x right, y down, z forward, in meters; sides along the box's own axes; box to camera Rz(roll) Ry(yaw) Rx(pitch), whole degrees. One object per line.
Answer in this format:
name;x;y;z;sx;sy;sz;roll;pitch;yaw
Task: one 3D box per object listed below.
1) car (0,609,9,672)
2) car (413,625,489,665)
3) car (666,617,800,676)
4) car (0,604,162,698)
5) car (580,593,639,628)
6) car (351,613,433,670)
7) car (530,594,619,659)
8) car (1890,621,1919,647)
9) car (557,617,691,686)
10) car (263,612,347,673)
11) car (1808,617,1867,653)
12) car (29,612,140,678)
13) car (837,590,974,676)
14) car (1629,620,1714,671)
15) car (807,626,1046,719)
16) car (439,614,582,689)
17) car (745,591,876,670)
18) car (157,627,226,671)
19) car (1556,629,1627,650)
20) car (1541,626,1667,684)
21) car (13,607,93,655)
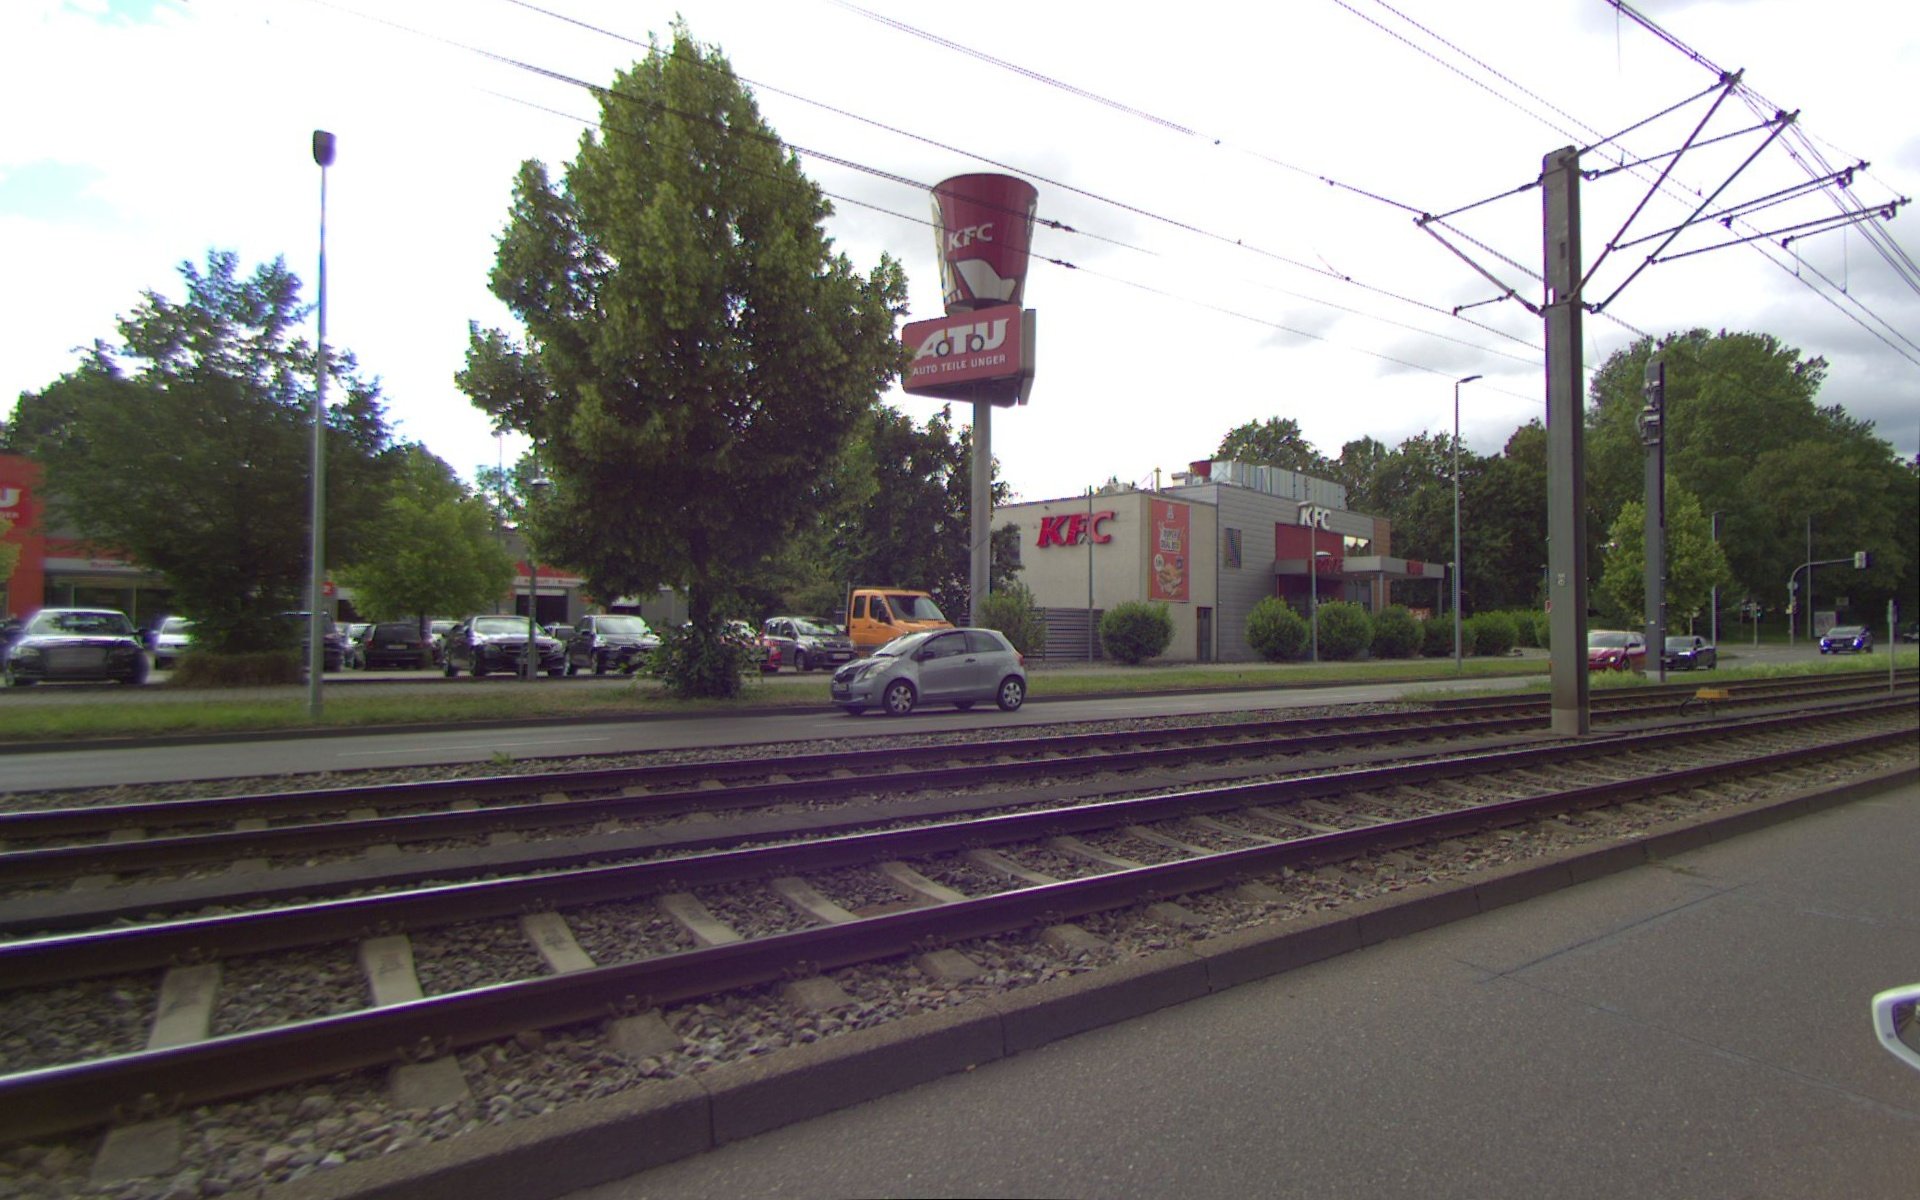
car;-25.595;1.039;25.460;1.686;1.669;3.702;1;-2;-37
car;-19.142;1.661;37.692;1.934;1.407;3.702;2;-3;-37
car;-5.863;1.135;25.602;1.980;1.253;3.960;2;0;-35
car;-16.113;0.856;18.501;1.918;1.440;3.960;2;0;-35
car;-18.456;0.535;52.805;1.903;1.644;3.701;2;0;-37
car;-17.998;1.295;31.753;1.809;1.669;3.702;1;-2;-37
car;-13.426;0.871;34.850;1.934;2.040;3.701;1;0;-37
car;75.103;2.672;79.233;4.073;2.040;1.977;2;-2;-39
car;-8.273;1.188;24.524;2.073;1.385;3.960;2;0;-35
car;-19.159;1.226;29.333;1.809;1.669;3.702;1;-2;-37
car;51.899;2.060;59.374;4.212;2.040;1.977;2;-2;-40
car;-23.428;1.161;27.011;1.934;1.517;3.701;2;0;-37
car;-1.617;0.867;28.315;2.038;2.194;3.960;2;0;-35
car;30.061;1.906;42.409;3.967;2.040;1.978;2;-2;-39
car;-0.574;1.283;18.321;3.962;1.502;1.980;2;-4;-36
car;-10.203;1.082;22.611;2.174;1.372;4.344;2;0;-35
car;-4.164;0.782;27.577;1.980;1.944;3.960;2;0;-35
car;-24.437;1.538;32.007;1.650;1.147;3.701;2;0;-37
car;44.162;2.756;70.295;1.829;1.426;3.852;1;-2;-36
car;19.364;1.639;30.135;4.442;1.602;1.770;2;-3;-38
car;-35.120;1.168;38.976;1.903;1.644;3.701;2;0;-37
